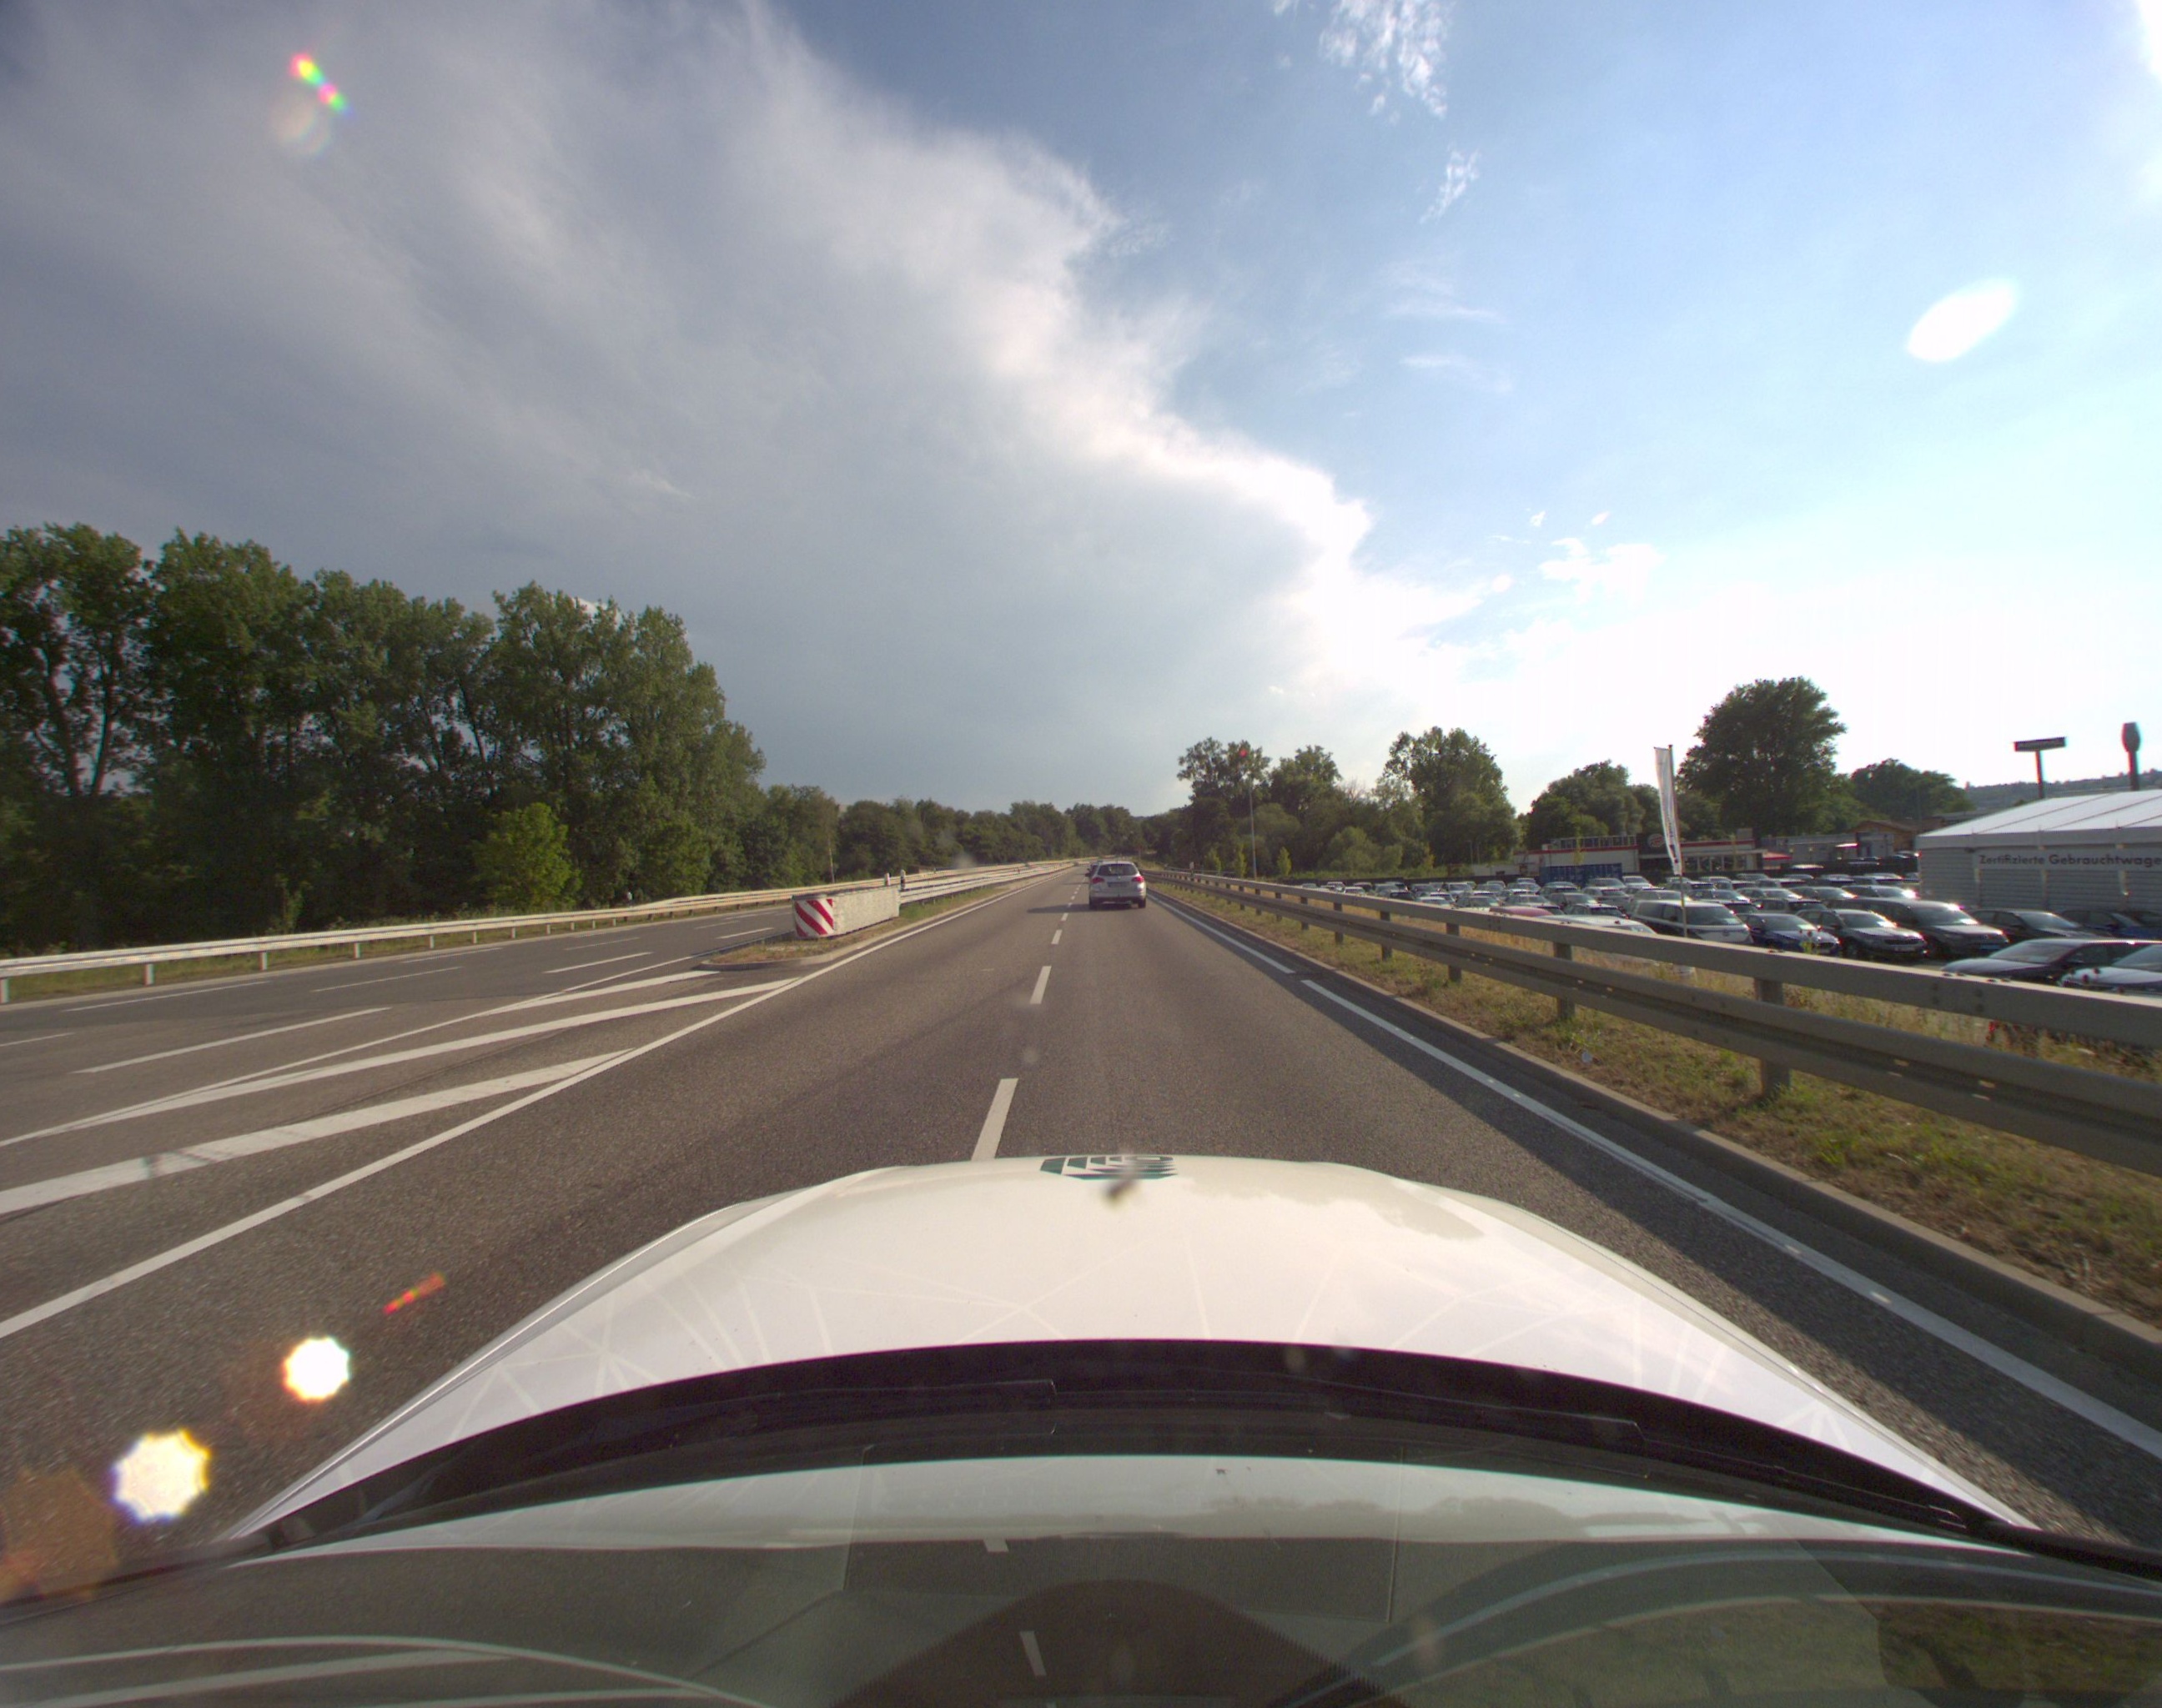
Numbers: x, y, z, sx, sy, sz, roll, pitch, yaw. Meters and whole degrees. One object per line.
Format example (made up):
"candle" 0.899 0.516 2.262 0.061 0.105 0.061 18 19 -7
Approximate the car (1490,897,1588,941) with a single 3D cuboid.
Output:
"car" 19.714 2.753 35.333 1.871 1.636 4.735 -1 -2 4

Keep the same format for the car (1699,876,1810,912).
"car" 32.735 1.906 39.786 1.870 1.636 4.737 -1 -2 6

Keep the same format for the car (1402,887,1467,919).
"car" 20.837 2.877 48.221 1.829 1.716 4.666 -1 -2 0

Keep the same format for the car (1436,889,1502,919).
"car" 23.328 2.991 49.176 1.872 1.636 4.732 -1 -2 3

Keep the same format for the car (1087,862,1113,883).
"car" 1.384 1.366 59.554 1.803 1.486 4.000 -1 -2 1

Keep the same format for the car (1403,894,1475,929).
"car" 18.957 2.988 43.338 1.872 1.636 4.731 -1 -2 2

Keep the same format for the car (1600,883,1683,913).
"car" 33.126 2.576 48.303 1.871 1.636 4.733 -1 -2 4

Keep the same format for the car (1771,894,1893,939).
"car" 31.464 2.565 34.275 1.765 1.684 4.008 -1 -2 7

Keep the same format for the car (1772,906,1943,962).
"car" 25.796 2.595 27.327 1.867 1.522 4.743 -1 -2 11

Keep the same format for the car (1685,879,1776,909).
"car" 37.970 2.321 47.772 1.870 1.636 4.737 -1 -2 6

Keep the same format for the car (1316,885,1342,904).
"car" 22.349 3.643 73.510 1.939 1.642 4.258 -1 -2 13

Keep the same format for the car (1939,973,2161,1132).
"car" 14.245 2.634 10.542 1.731 1.626 4.311 -1 -2 1

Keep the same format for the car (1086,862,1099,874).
"car" 1.346 1.686 96.706 1.487 1.476 3.359 -1 -2 2

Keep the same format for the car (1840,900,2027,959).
"car" 28.135 2.435 27.153 1.867 1.636 4.743 -1 -2 11

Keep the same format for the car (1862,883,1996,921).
"car" 39.795 2.214 38.411 1.870 1.636 4.580 -1 -2 6

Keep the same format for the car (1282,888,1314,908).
"car" 17.296 3.475 64.968 1.699 1.464 4.003 -1 -2 3

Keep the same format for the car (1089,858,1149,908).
"car" 1.186 0.925 26.512 1.803 1.486 4.000 -1 -2 1

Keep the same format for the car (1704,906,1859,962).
"car" 23.526 2.631 27.620 1.867 1.522 4.743 -1 -2 11

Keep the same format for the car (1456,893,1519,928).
"car" 21.704 3.010 43.638 1.765 1.684 4.008 -1 -2 7

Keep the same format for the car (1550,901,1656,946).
"car" 21.948 2.882 34.483 1.870 1.636 4.737 -1 -2 6

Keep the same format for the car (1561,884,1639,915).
"car" 30.390 2.635 47.888 1.871 1.636 4.735 -1 -2 5

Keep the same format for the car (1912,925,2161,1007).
"car" 22.194 2.492 18.496 4.400 1.636 1.890 -1 -2 8

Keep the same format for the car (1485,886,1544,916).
"car" 26.026 2.809 49.031 1.765 1.684 4.008 -1 -2 7

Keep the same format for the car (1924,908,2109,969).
"car" 30.670 2.723 26.906 1.765 1.684 4.008 -1 -2 7

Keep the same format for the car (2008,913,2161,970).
"car" 32.582 2.701 25.851 1.943 1.464 4.007 -1 -2 7

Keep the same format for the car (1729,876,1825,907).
"car" 40.172 2.125 47.161 1.870 1.636 4.737 -1 -2 6

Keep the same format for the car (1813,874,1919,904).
"car" 45.031 1.968 46.869 1.870 1.636 4.737 -1 -2 6

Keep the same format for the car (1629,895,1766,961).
"car" 21.178 2.473 28.270 1.867 1.931 4.743 -1 -2 11

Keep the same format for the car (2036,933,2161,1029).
"car" 22.206 2.451 15.985 4.393 1.607 1.805 -1 0 8

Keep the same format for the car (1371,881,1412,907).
"car" 22.079 2.814 58.052 1.766 1.684 4.006 -1 -2 6

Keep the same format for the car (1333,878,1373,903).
"car" 19.570 2.611 58.722 1.767 1.684 4.005 -1 -2 5

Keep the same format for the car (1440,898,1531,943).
"car" 17.204 2.773 34.899 1.871 1.636 4.735 -1 -2 5

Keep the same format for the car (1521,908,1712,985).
"car" 14.281 2.397 22.130 1.876 1.626 4.723 -1 -2 -3

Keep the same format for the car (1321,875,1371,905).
"car" 15.988 2.134 49.298 1.768 1.684 4.001 -1 -2 1

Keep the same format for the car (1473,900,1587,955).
"car" 15.813 2.554 28.984 1.870 1.626 4.737 -1 -2 6

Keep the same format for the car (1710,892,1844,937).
"car" 28.800 2.444 33.940 1.870 1.636 4.737 -1 -2 6

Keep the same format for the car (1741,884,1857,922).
"car" 35.124 2.360 40.045 1.870 1.636 4.737 -1 -2 6

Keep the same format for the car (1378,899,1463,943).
"car" 14.515 2.817 35.099 1.872 1.626 4.732 -1 -2 2

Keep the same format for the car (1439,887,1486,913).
"car" 27.028 3.215 57.844 1.766 1.684 4.006 -1 -2 6

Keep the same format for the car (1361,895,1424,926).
"car" 18.539 3.320 48.717 1.992 1.651 4.728 -1 -2 0
